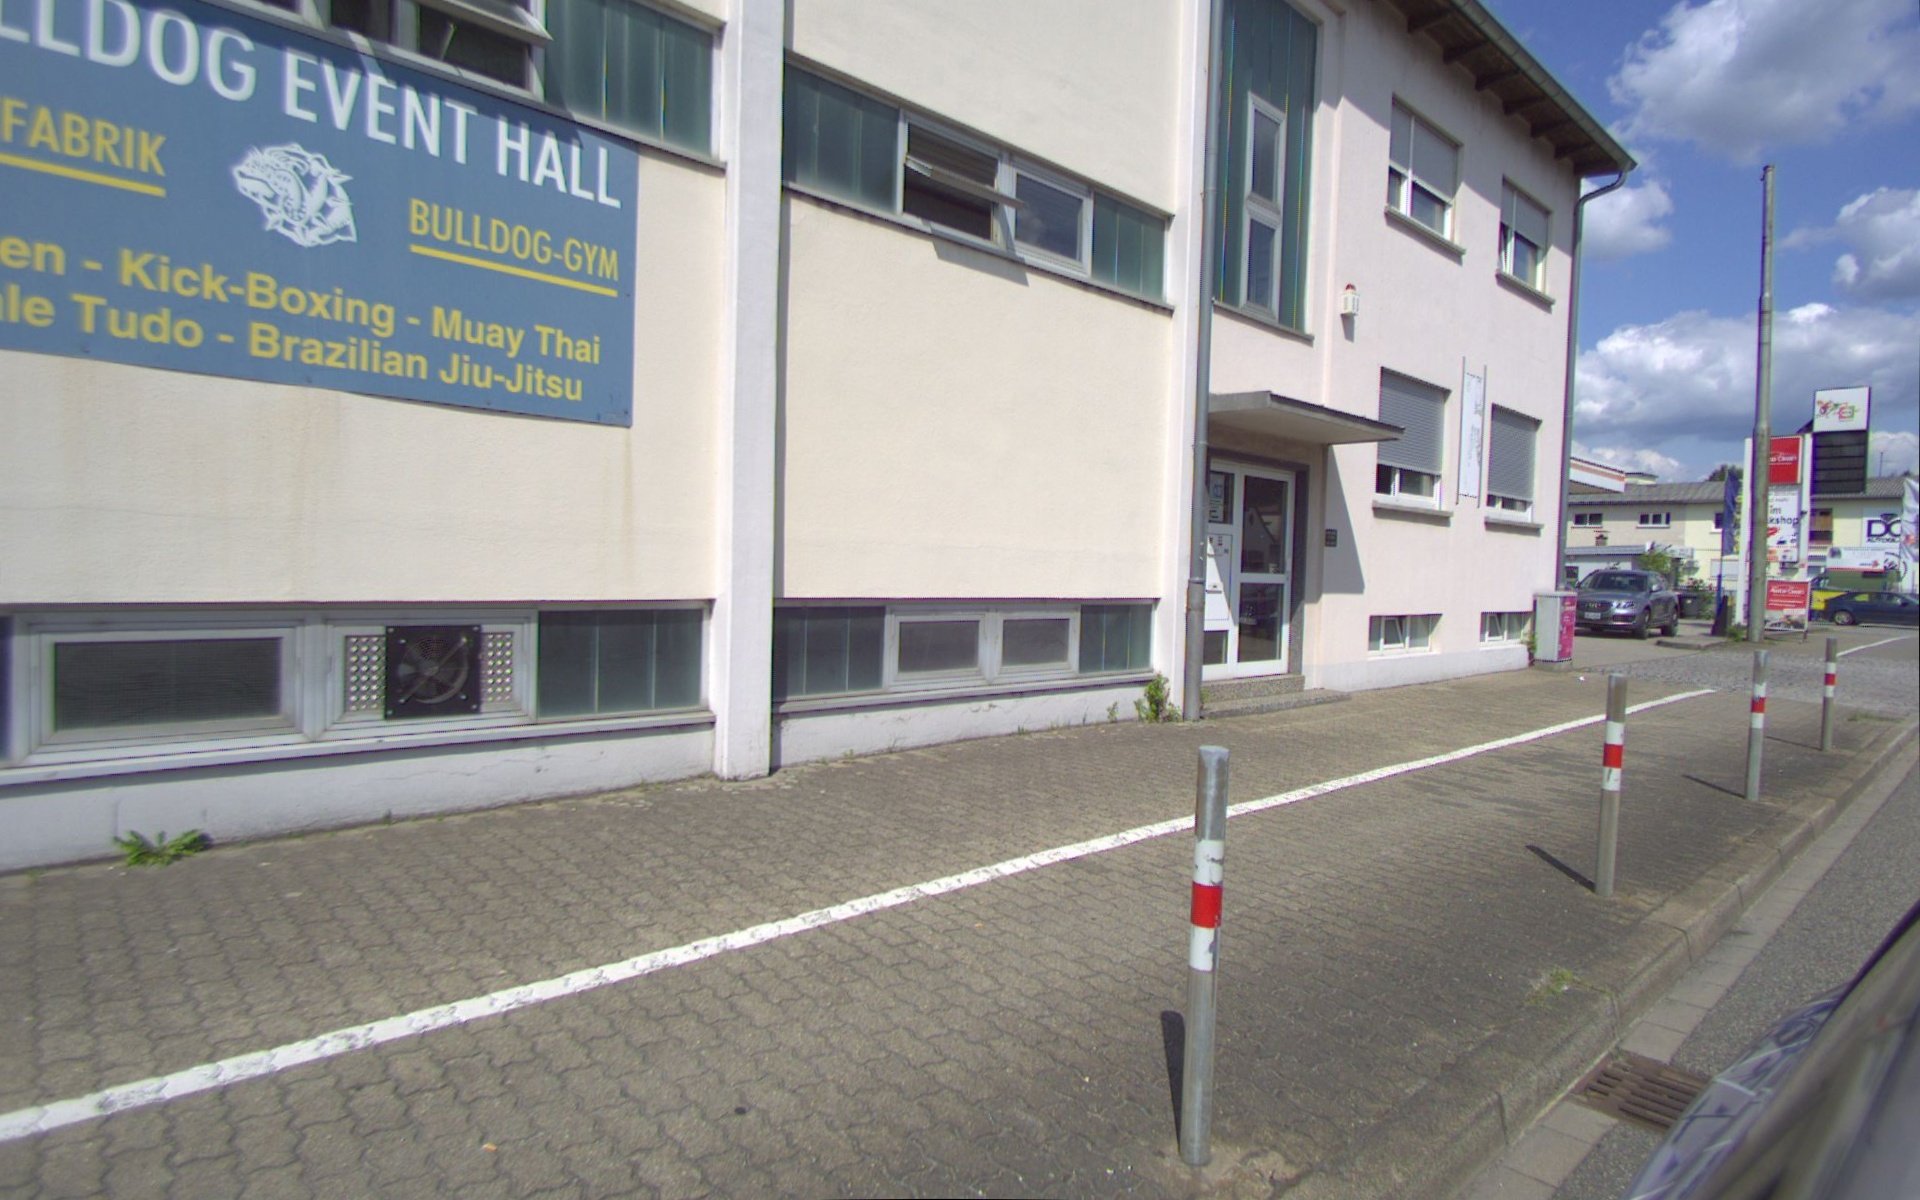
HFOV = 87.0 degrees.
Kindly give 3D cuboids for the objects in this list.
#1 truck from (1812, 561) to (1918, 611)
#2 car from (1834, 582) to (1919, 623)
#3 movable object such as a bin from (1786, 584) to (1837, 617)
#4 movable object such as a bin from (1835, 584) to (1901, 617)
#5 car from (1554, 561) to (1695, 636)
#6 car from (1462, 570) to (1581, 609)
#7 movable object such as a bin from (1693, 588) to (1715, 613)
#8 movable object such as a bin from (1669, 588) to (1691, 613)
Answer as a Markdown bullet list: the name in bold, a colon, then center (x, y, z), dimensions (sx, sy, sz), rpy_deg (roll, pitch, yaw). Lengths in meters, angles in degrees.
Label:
- **truck**: center (50.413, -0.799, 56.434), dimensions (2.071, 2.693, 4.179), rpy_deg (-1, 1, -40)
- **car**: center (35.700, 0.119, 38.019), dimensions (1.616, 1.425, 4.067), rpy_deg (-1, 3, -35)
- **movable object such as a bin**: center (38.062, -0.002, 45.225), dimensions (1.735, 1.427, 1.534), rpy_deg (-1, 1, -42)
- **movable object such as a bin**: center (39.368, -0.009, 43.896), dimensions (1.679, 1.364, 1.965), rpy_deg (-1, 1, -42)
- **car**: center (16.697, -0.084, 25.349), dimensions (4.539, 1.645, 1.948), rpy_deg (-1, 3, -44)
- **car**: center (24.360, -0.489, 44.007), dimensions (1.740, 1.441, 4.145), rpy_deg (-1, 4, -40)
- **movable object such as a bin**: center (29.942, 0.014, 40.720), dimensions (0.695, 1.023, 0.581), rpy_deg (-1, 1, -43)
- **movable object such as a bin**: center (29.378, 0.009, 41.291), dimensions (0.695, 1.023, 0.581), rpy_deg (-1, 1, -43)
